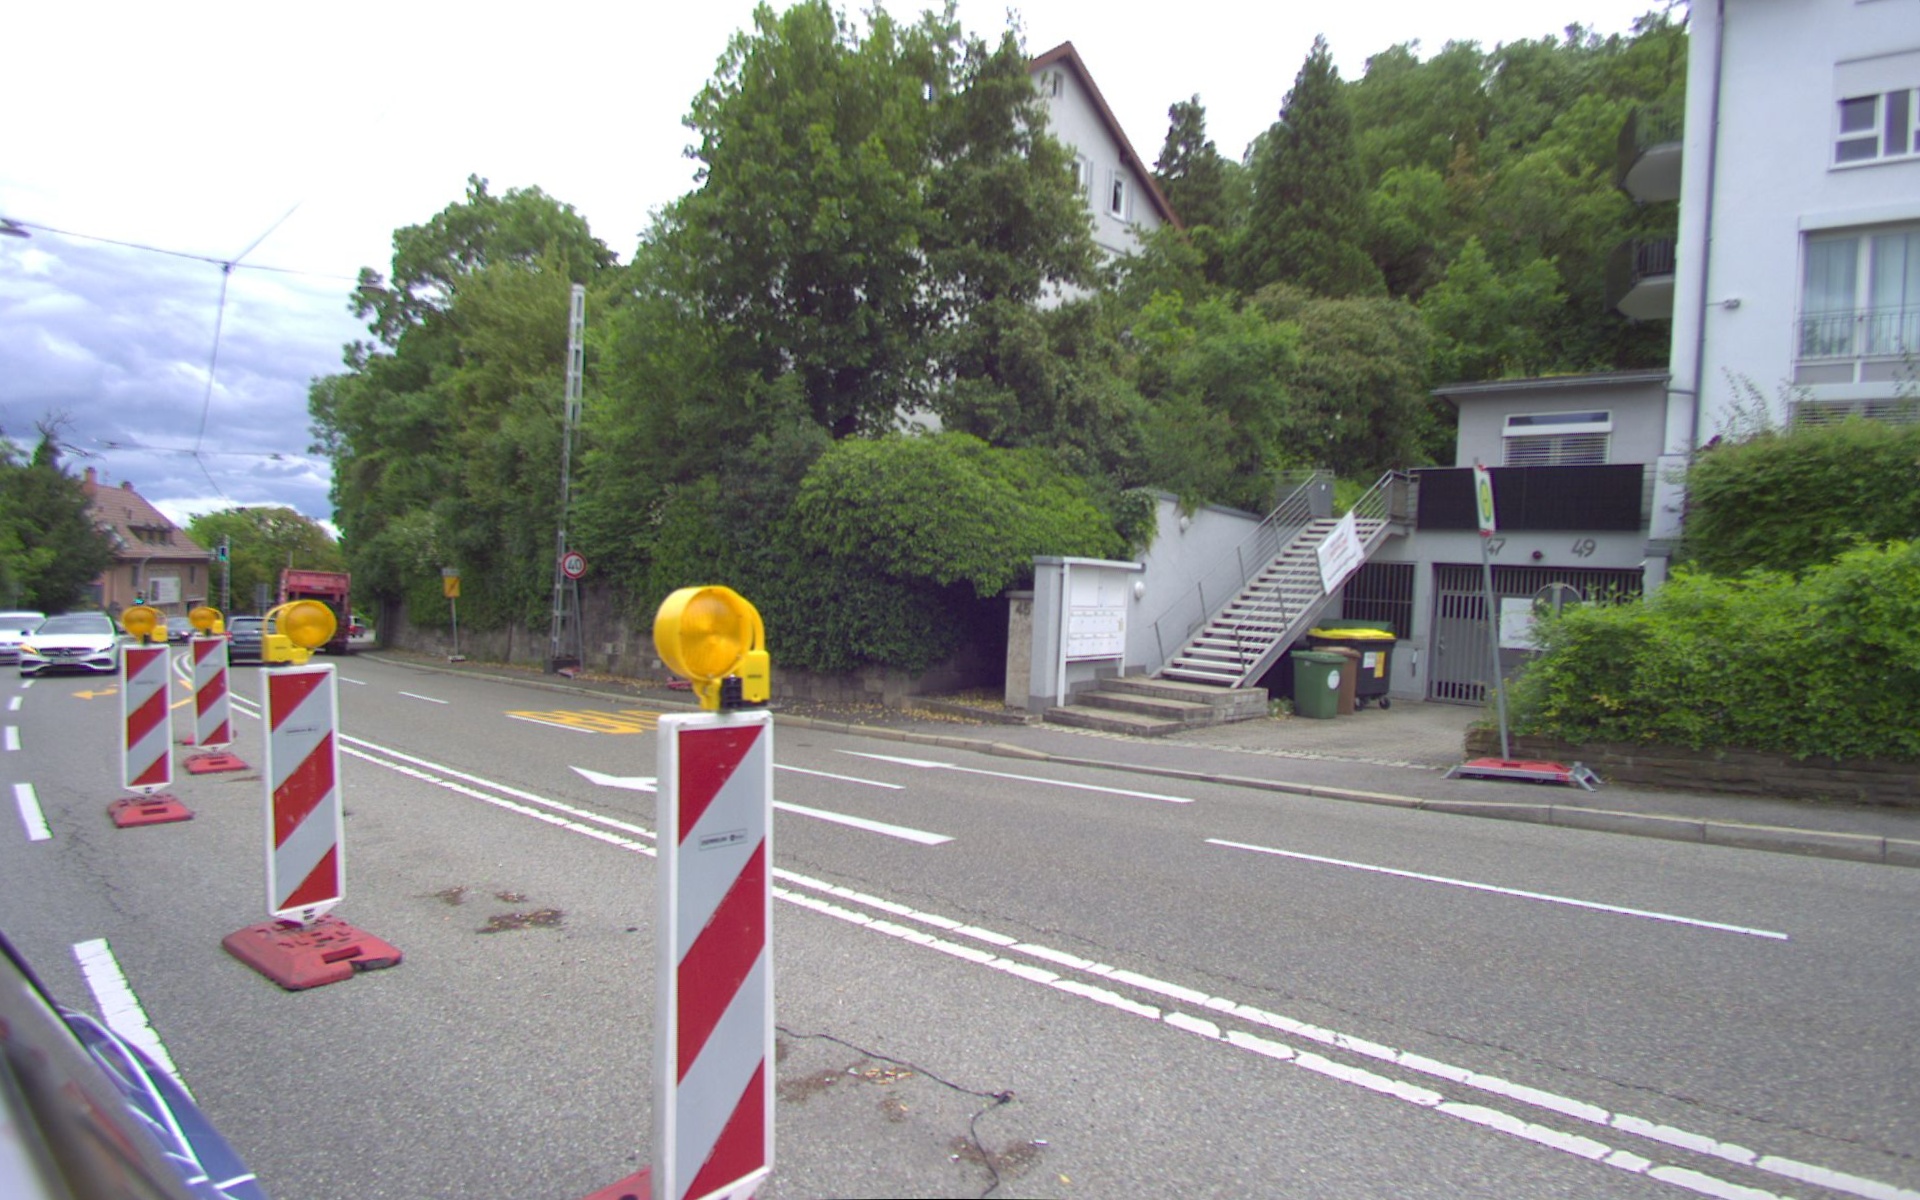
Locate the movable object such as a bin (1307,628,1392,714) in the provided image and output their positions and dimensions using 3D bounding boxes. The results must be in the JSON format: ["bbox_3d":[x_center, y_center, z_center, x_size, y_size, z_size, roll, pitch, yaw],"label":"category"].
[{"bbox_3d":[6.605,1.187,17.165,0.982,1.383,1.009,4,-3,-42],"label":"movable object such as a bin"}]

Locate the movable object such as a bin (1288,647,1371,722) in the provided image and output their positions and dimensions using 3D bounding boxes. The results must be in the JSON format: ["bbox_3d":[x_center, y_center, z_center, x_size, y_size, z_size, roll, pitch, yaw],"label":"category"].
[{"bbox_3d":[5.767,1.299,15.796,1.091,1.098,0.804,4,-3,-42],"label":"movable object such as a bin"}]

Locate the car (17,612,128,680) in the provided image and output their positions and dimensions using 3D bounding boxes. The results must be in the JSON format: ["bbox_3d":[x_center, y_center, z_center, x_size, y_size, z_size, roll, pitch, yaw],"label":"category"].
[{"bbox_3d":[-21.458,1.090,24.617,1.764,1.492,4.253,1,-2,-38],"label":"car"}]

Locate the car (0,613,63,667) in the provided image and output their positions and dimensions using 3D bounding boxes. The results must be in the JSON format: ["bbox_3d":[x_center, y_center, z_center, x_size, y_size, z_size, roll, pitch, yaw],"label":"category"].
[{"bbox_3d":[-28.745,1.180,30.791,1.764,1.563,4.254,0,-1,-36],"label":"car"}]

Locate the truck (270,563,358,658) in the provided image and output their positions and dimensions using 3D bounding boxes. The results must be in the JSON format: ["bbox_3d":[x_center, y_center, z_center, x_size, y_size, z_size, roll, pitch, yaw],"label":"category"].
[{"bbox_3d":[-29.313,0.551,45.707,2.822,3.726,9.682,5,-4,-34],"label":"truck"}]

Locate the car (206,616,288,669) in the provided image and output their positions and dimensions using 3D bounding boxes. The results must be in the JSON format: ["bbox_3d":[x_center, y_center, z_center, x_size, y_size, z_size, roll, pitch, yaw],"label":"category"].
[{"bbox_3d":[-21.420,1.252,30.351,1.692,1.472,4.007,3,-3,-39],"label":"car"}]

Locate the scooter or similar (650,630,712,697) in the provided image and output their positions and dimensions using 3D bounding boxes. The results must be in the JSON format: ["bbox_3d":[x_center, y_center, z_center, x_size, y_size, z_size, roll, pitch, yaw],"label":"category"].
[{"bbox_3d":[-5.364,1.197,19.438,1.279,1.218,0.424,0,1,36],"label":"scooter or similar"}]

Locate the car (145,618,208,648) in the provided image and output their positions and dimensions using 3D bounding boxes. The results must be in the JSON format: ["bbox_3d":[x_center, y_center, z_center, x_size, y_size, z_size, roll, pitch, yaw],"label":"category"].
[{"bbox_3d":[-41.248,1.727,53.384,1.762,1.492,4.258,0,-1,-26],"label":"car"}]
